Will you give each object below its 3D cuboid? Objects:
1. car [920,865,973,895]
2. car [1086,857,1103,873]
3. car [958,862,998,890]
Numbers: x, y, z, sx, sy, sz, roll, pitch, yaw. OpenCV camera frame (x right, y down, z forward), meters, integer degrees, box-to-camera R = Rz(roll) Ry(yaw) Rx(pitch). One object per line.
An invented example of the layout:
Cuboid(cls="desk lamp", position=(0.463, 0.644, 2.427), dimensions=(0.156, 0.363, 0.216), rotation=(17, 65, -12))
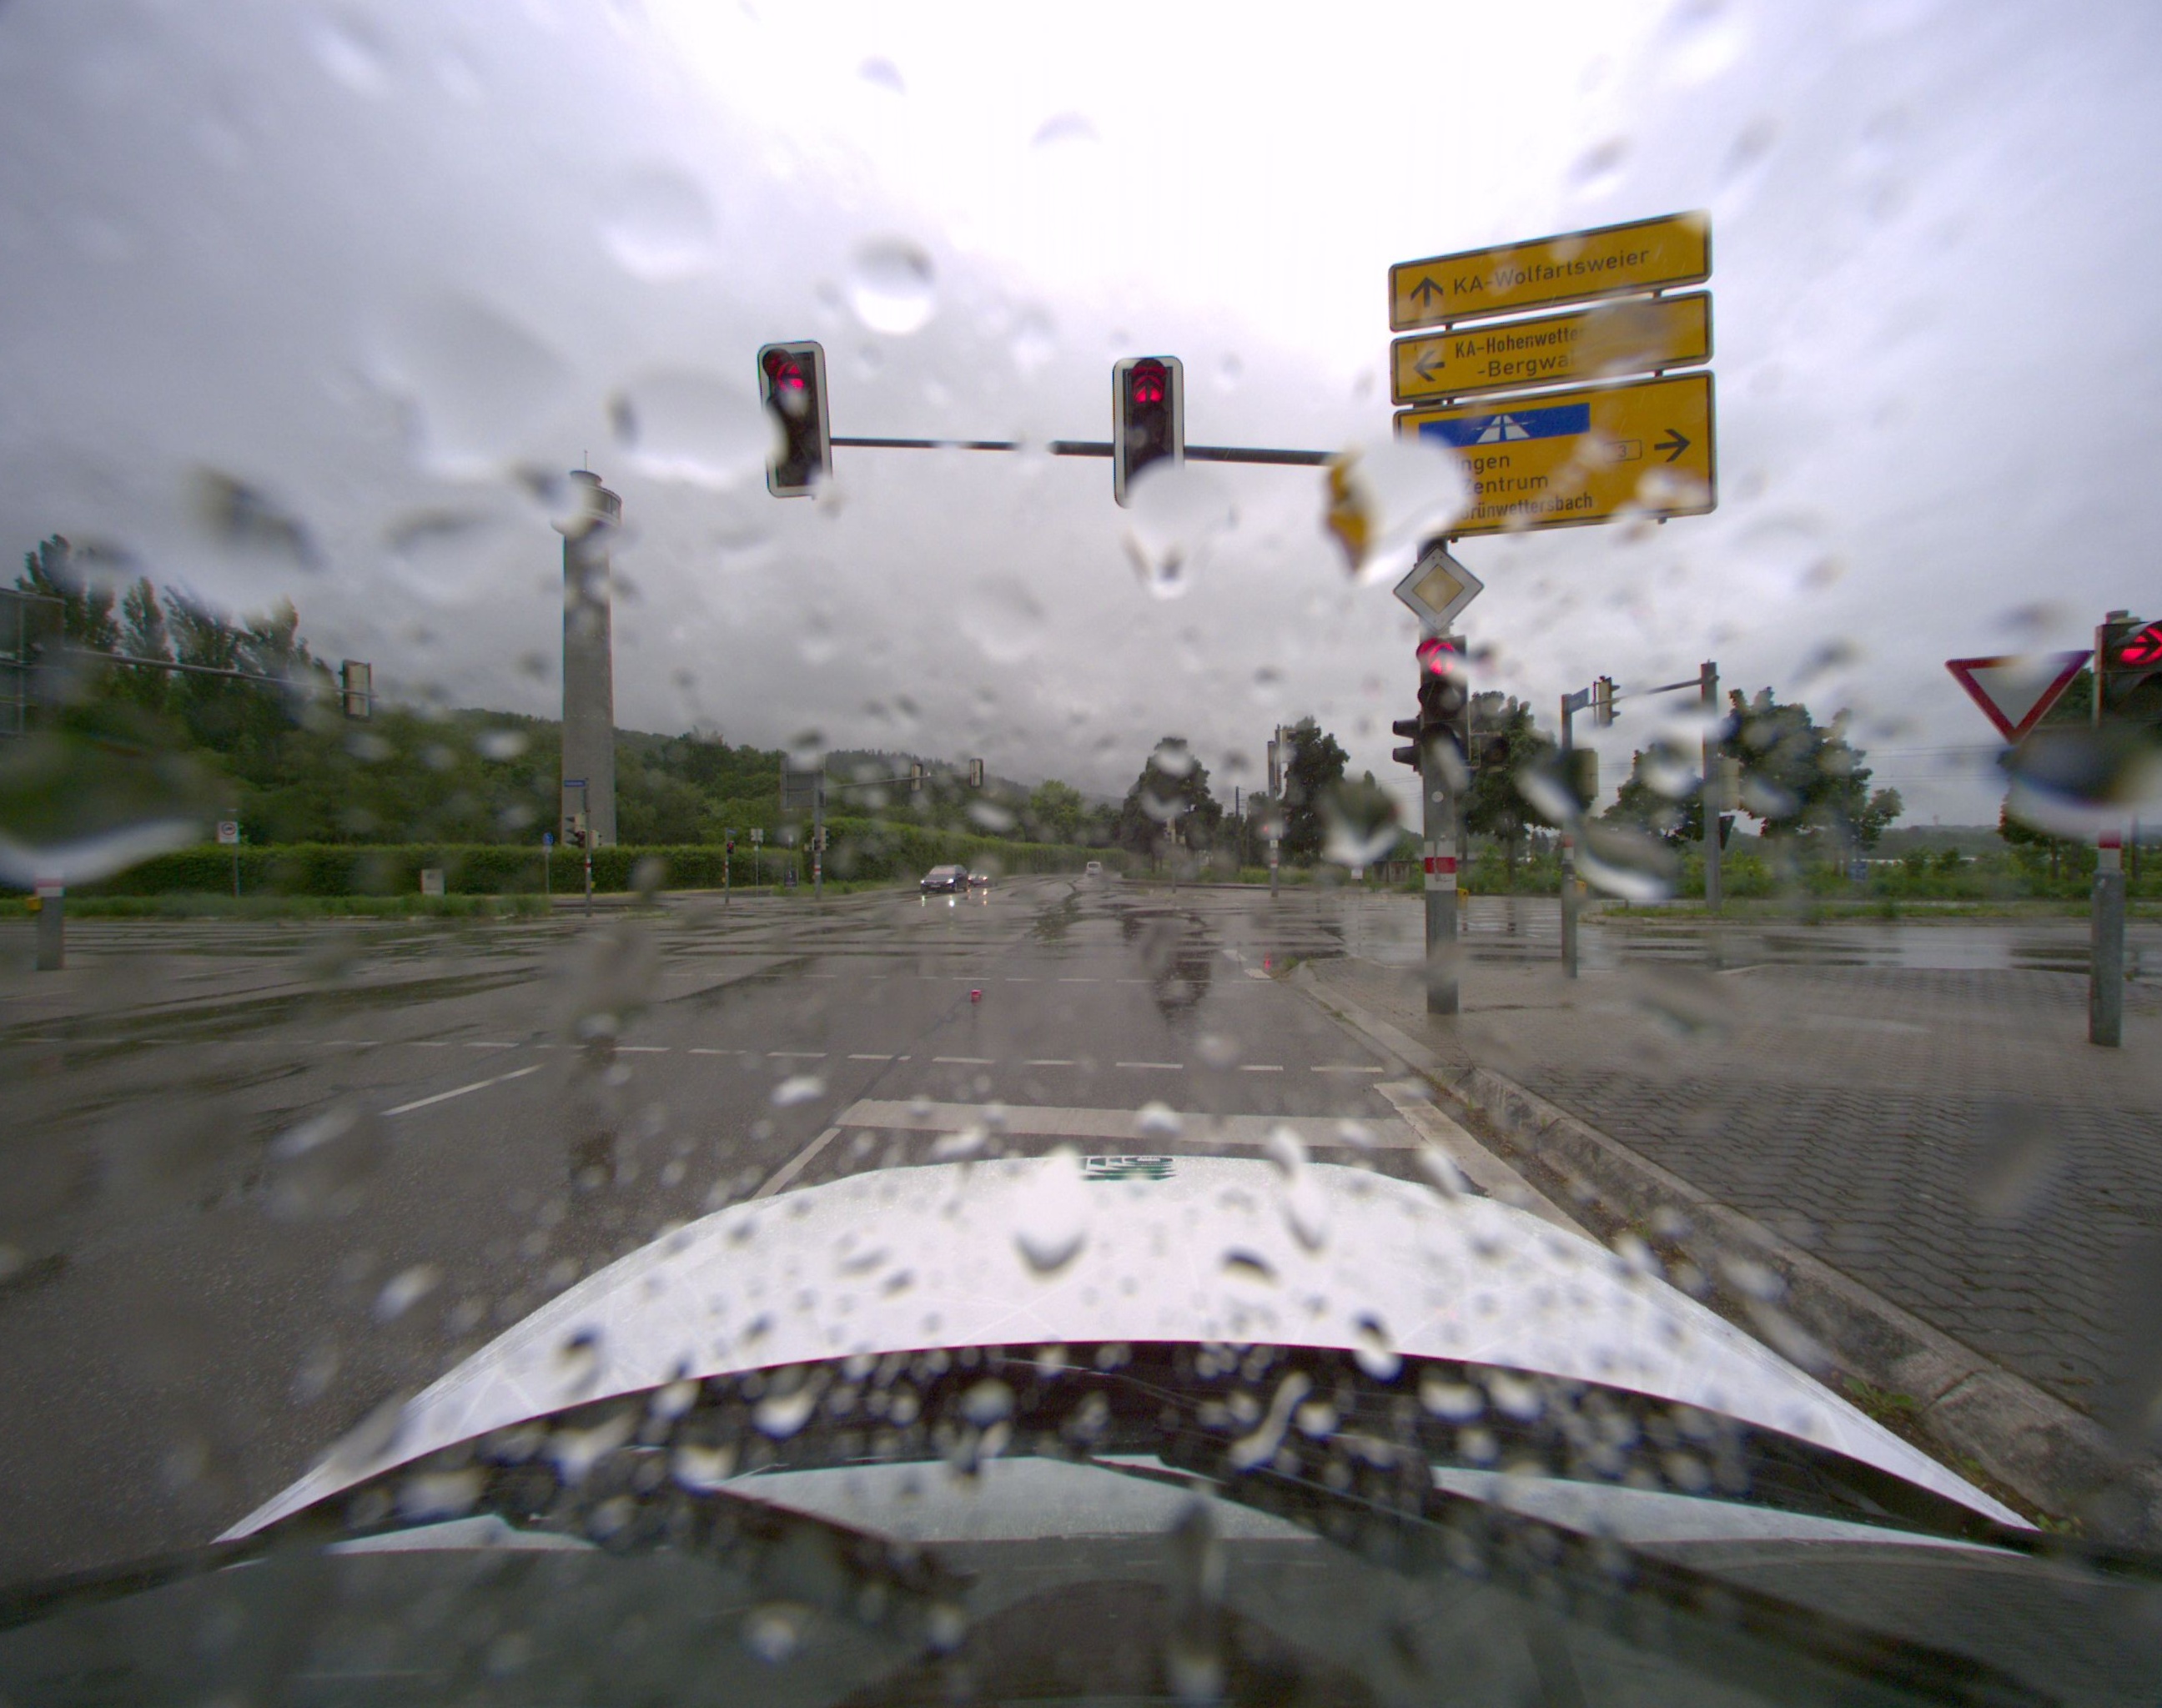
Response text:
Cuboid(cls="car", position=(-7.150, 1.363, 43.738), dimensions=(1.700, 1.466, 4.458), rotation=(-1, 0, 5))
Cuboid(cls="car", position=(1.603, 1.331, 99.338), dimensions=(1.947, 1.904, 4.120), rotation=(-1, 0, 0))
Cuboid(cls="car", position=(-6.778, 1.398, 54.072), dimensions=(2.029, 1.708, 4.067), rotation=(-1, 0, 2))
